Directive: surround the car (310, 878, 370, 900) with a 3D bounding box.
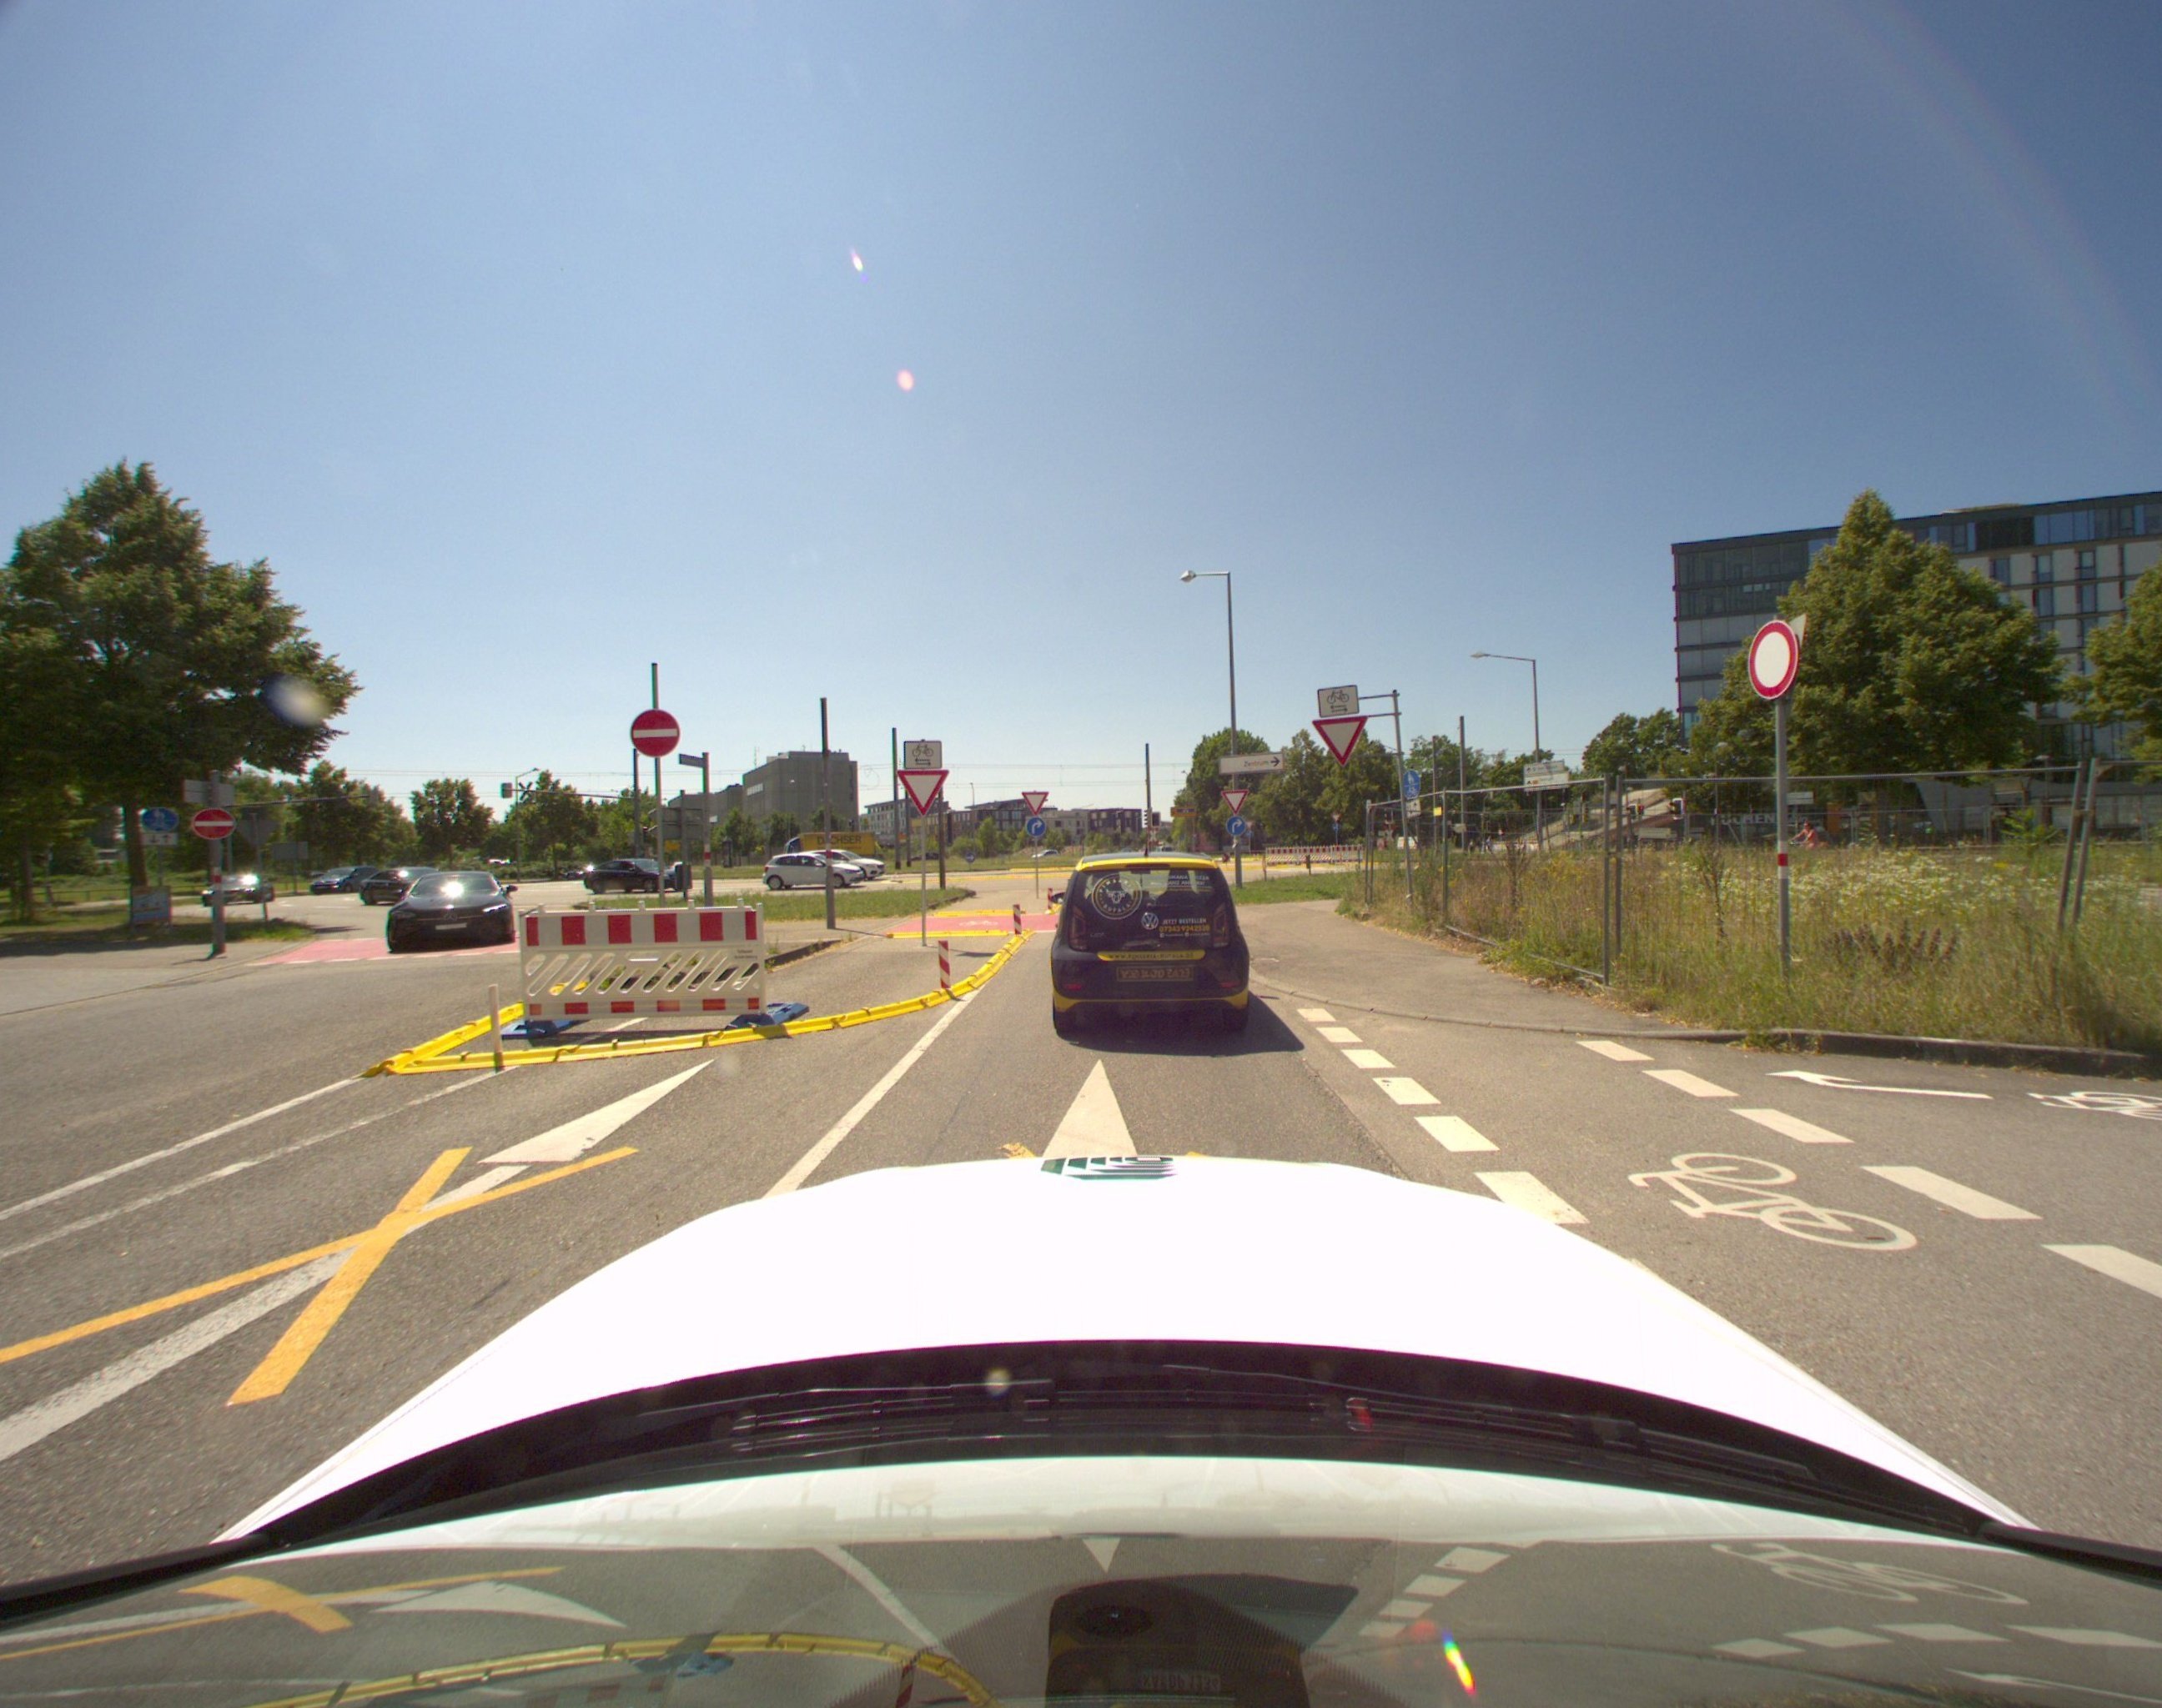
[{"bbox_3d":[-47.761,2.235,52.554,1.645,1.227,3.239,-2,0,-19],"label":"car"}]

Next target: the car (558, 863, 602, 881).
[{"bbox_3d":[-44.619,1.578,72.589,1.336,1.514,3.427,-2,0,12],"label":"car"}]

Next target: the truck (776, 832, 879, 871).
[{"bbox_3d":[-25.812,-0.344,83.213,9.648,3.658,2.680,-2,0,-32],"label":"truck"}]

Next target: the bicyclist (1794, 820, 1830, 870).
[{"bbox_3d":[25.034,-0.315,27.892,0.712,1.664,0.640,-1,-2,-31],"label":"bicyclist"}]

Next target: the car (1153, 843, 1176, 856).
[{"bbox_3d":[9.623,-0.519,94.245,1.660,1.372,3.017,-2,0,-14],"label":"car"}]

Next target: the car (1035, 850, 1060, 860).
[{"bbox_3d":[-4.089,0.082,99.397,2.908,1.155,1.192,-2,0,-35],"label":"car"}]

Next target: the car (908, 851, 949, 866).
[{"bbox_3d":[-16.244,0.475,86.916,4.027,1.461,1.728,-2,0,-4],"label":"car"}]

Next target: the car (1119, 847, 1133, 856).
[{"bbox_3d":[7.361,-0.393,133.582,1.756,1.344,3.332,-2,0,12],"label":"car"}]

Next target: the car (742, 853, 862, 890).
[{"bbox_3d":[-11.495,0.709,33.751,4.321,1.449,1.857,-1,0,1],"label":"car"}]

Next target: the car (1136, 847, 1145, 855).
[{"bbox_3d":[11.182,-0.542,153.692,1.514,1.393,3.284,-2,0,2],"label":"car"}]

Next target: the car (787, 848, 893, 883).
[{"bbox_3d":[-11.446,0.551,38.870,4.329,1.486,2.004,-2,0,7],"label":"car"}]

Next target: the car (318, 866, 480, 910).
[{"bbox_3d":[-26.666,1.307,31.965,4.618,1.448,2.001,-2,0,1],"label":"car"}]

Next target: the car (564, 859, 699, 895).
[{"bbox_3d":[-18.954,0.958,34.430,4.714,1.449,2.006,-1,0,10],"label":"car"}]

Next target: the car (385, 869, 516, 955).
[{"bbox_3d":[-12.897,1.086,16.780,1.830,1.403,4.582,-3,1,-37],"label":"car"}]

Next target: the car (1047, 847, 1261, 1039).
[{"bbox_3d":[0.620,0.667,8.209,1.612,1.451,3.988,-1,0,2],"label":"car"}]

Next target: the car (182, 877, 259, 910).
[{"bbox_3d":[-41.125,1.874,38.891,4.558,1.412,1.734,-2,0,34],"label":"car"}]
